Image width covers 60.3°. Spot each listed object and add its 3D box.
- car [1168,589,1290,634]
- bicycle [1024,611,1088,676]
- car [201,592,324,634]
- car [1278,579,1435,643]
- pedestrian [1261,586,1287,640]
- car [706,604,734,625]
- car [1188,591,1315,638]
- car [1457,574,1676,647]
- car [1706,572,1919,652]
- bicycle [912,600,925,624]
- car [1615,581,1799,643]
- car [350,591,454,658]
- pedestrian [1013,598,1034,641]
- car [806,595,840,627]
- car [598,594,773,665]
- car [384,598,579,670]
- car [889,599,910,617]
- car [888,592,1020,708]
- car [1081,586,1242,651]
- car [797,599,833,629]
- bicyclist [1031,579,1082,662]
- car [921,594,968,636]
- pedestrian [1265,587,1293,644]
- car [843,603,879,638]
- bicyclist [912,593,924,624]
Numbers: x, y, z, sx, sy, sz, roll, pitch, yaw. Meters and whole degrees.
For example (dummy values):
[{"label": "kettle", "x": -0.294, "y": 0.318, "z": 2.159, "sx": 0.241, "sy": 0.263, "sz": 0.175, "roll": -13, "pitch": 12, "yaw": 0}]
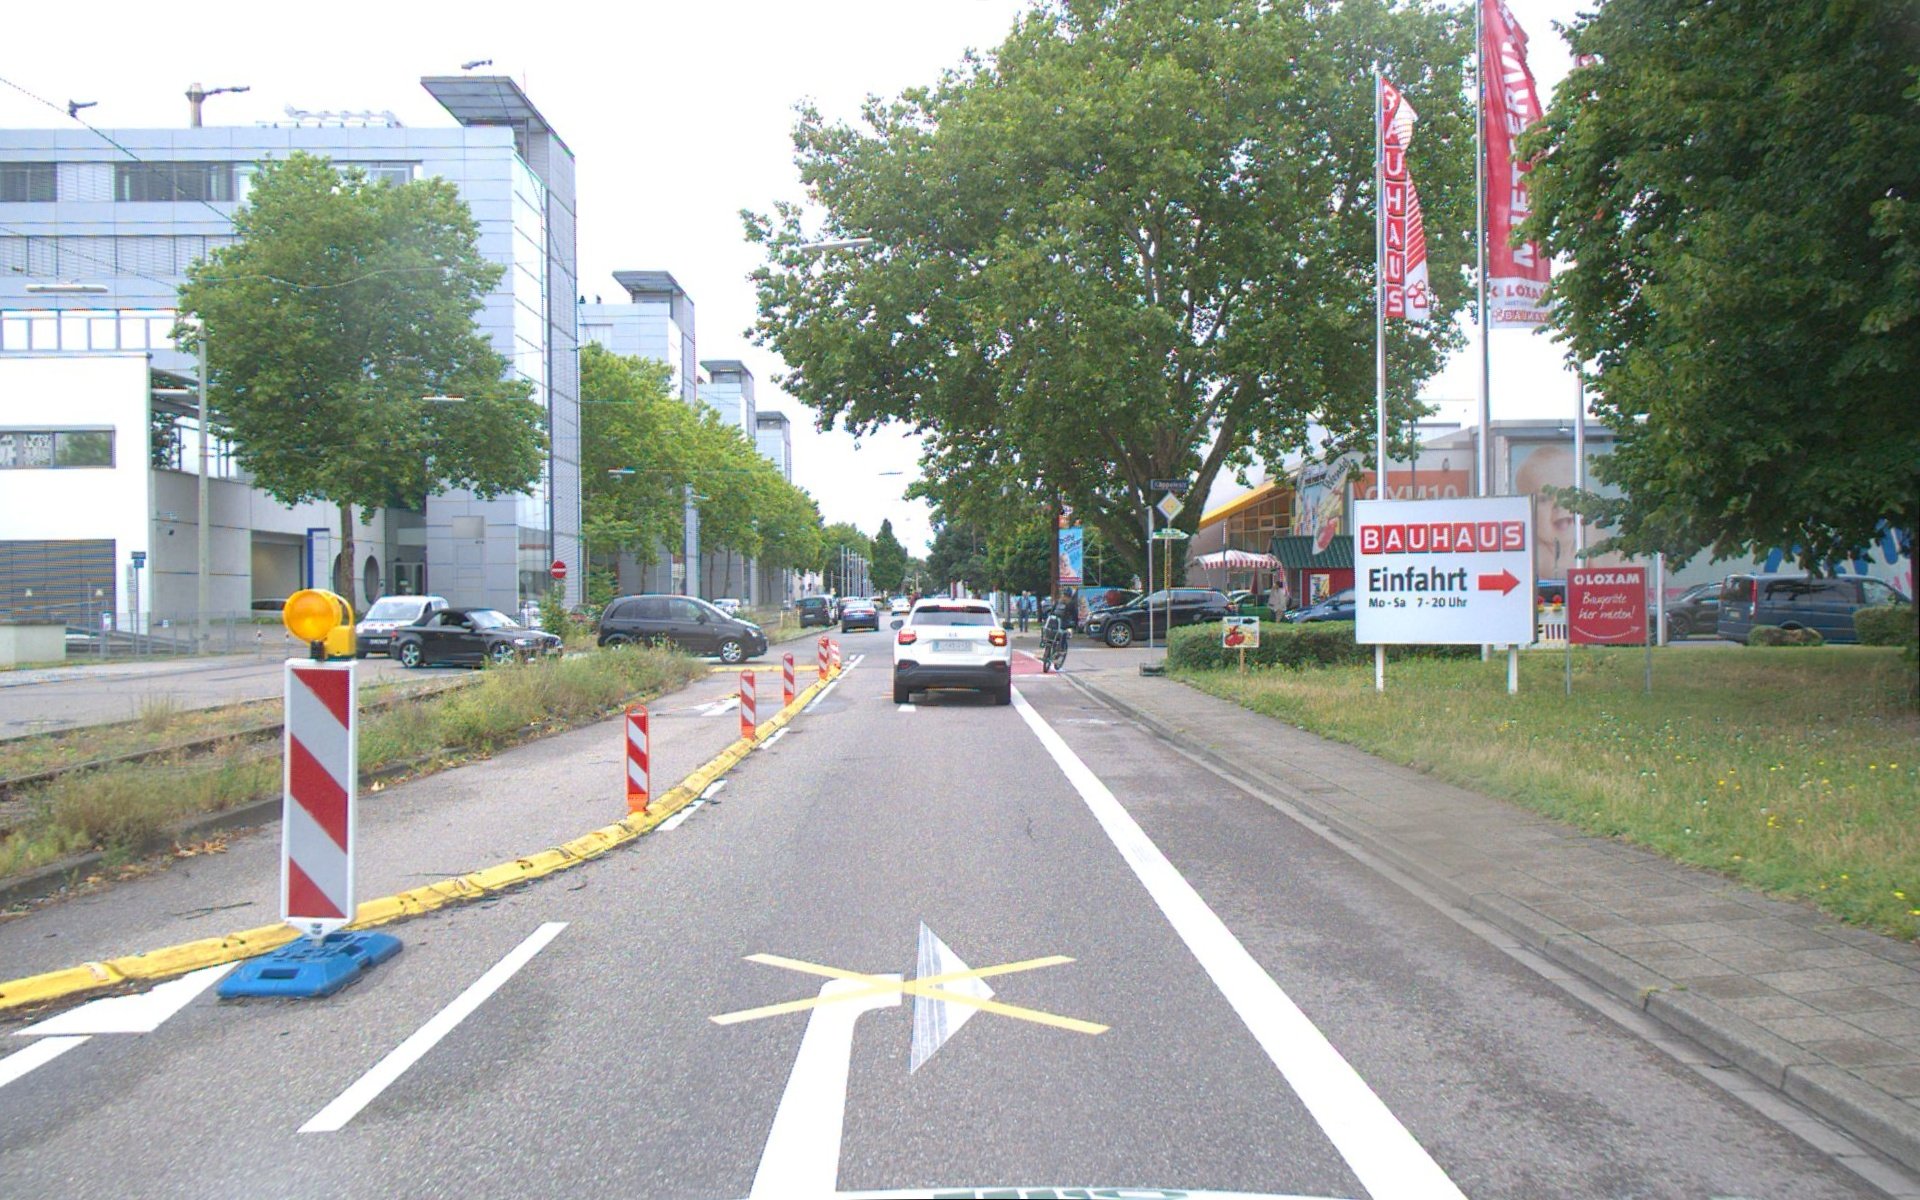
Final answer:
[{"label": "car", "x": 9.875, "y": 0.417, "z": 60.912, "sx": 4.129, "sy": 1.579, "sz": 1.789, "roll": -1, "pitch": 0, "yaw": -4}, {"label": "bicycle", "x": 1.989, "y": 0.869, "z": 33.790, "sx": 0.799, "sy": 1.234, "sz": 2.685, "roll": -1, "pitch": 0, "yaw": 14}, {"label": "car", "x": -29.724, "y": 0.551, "z": 70.608, "sx": 4.422, "sy": 1.699, "sz": 1.824, "roll": 1, "pitch": -1, "yaw": -4}, {"label": "car", "x": 11.245, "y": 0.308, "z": 47.122, "sx": 4.123, "sy": 1.706, "sz": 1.994, "roll": -1, "pitch": 0, "yaw": 6}, {"label": "pedestrian", "x": 10.128, "y": 0.423, "z": 53.385, "sx": 0.666, "sy": 1.734, "sz": 0.598, "roll": -1, "pitch": 0, "yaw": -3}, {"label": "car", "x": -19.928, "y": 1.195, "z": 137.390, "sx": 1.839, "sy": 1.661, "sz": 4.203, "roll": -1, "pitch": 0, "yaw": -2}, {"label": "car", "x": 10.335, "y": 0.512, "z": 58.777, "sx": 4.129, "sy": 1.579, "sz": 1.789, "roll": -1, "pitch": 0, "yaw": -4}, {"label": "car", "x": 14.353, "y": 0.241, "z": 39.314, "sx": 4.461, "sy": 1.599, "sz": 1.992, "roll": -1, "pitch": 0, "yaw": -1}, {"label": "car", "x": 20.648, "y": 0.265, "z": 39.782, "sx": 4.461, "sy": 1.821, "sz": 2.073, "roll": -1, "pitch": 1, "yaw": -1}, {"label": "bicycle", "x": -2.479, "y": 0.703, "z": 98.732, "sx": 0.657, "sy": 1.418, "sz": 2.165, "roll": 1, "pitch": 0, "yaw": -4}, {"label": "car", "x": 21.906, "y": 0.345, "z": 48.643, "sx": 4.458, "sy": 1.706, "sz": 2.082, "roll": -1, "pitch": 0, "yaw": 2}, {"label": "car", "x": -16.177, "y": 0.686, "z": 48.163, "sx": 1.784, "sy": 1.814, "sz": 4.422, "roll": -1, "pitch": 0, "yaw": -4}, {"label": "pedestrian", "x": 2.595, "y": 0.782, "z": 67.698, "sx": 0.746, "sy": 1.734, "sz": 0.680, "roll": -1, "pitch": 0, "yaw": -6}, {"label": "car", "x": -8.230, "y": 0.650, "z": 99.456, "sx": 1.839, "sy": 1.794, "sz": 3.998, "roll": -1, "pitch": 0, "yaw": -2}, {"label": "car", "x": -6.420, "y": 0.686, "z": 38.929, "sx": 3.804, "sy": 1.583, "sz": 1.825, "roll": 1, "pitch": -1, "yaw": -2}, {"label": "car", "x": -11.048, "y": 0.797, "z": 38.192, "sx": 4.032, "sy": 1.501, "sz": 1.825, "roll": -3, "pitch": -2, "yaw": 21}, {"label": "car", "x": -5.518, "y": 0.709, "z": 150.578, "sx": 1.760, "sy": 1.540, "sz": 3.703, "roll": 1, "pitch": 0, "yaw": -4}, {"label": "car", "x": -0.161, "y": 0.709, "z": 25.486, "sx": 1.787, "sy": 1.628, "sz": 3.773, "roll": 1, "pitch": 0, "yaw": -4}, {"label": "car", "x": 5.591, "y": 0.517, "z": 46.348, "sx": 4.226, "sy": 1.706, "sz": 1.992, "roll": -1, "pitch": 0, "yaw": -1}, {"label": "car", "x": -8.180, "y": 0.773, "z": 93.639, "sx": 1.839, "sy": 1.661, "sz": 3.998, "roll": -1, "pitch": 0, "yaw": -2}, {"label": "bicyclist", "x": 1.978, "y": 0.413, "z": 33.789, "sx": 0.799, "sy": 1.659, "sz": 1.236, "roll": -1, "pitch": 0, "yaw": 14}, {"label": "car", "x": -0.674, "y": 0.618, "z": 69.994, "sx": 1.839, "sy": 1.661, "sz": 3.998, "roll": -1, "pitch": 0, "yaw": -2}, {"label": "pedestrian", "x": 9.772, "y": 0.474, "z": 50.674, "sx": 0.666, "sy": 1.734, "sz": 0.598, "roll": -1, "pitch": 0, "yaw": -3}, {"label": "car", "x": -4.680, "y": 0.937, "z": 77.822, "sx": 1.651, "sy": 1.540, "sz": 3.703, "roll": 1, "pitch": 0, "yaw": -4}, {"label": "bicyclist", "x": -2.490, "y": 0.498, "z": 98.841, "sx": 0.657, "sy": 1.847, "sz": 0.759, "roll": 1, "pitch": 0, "yaw": -4}]
